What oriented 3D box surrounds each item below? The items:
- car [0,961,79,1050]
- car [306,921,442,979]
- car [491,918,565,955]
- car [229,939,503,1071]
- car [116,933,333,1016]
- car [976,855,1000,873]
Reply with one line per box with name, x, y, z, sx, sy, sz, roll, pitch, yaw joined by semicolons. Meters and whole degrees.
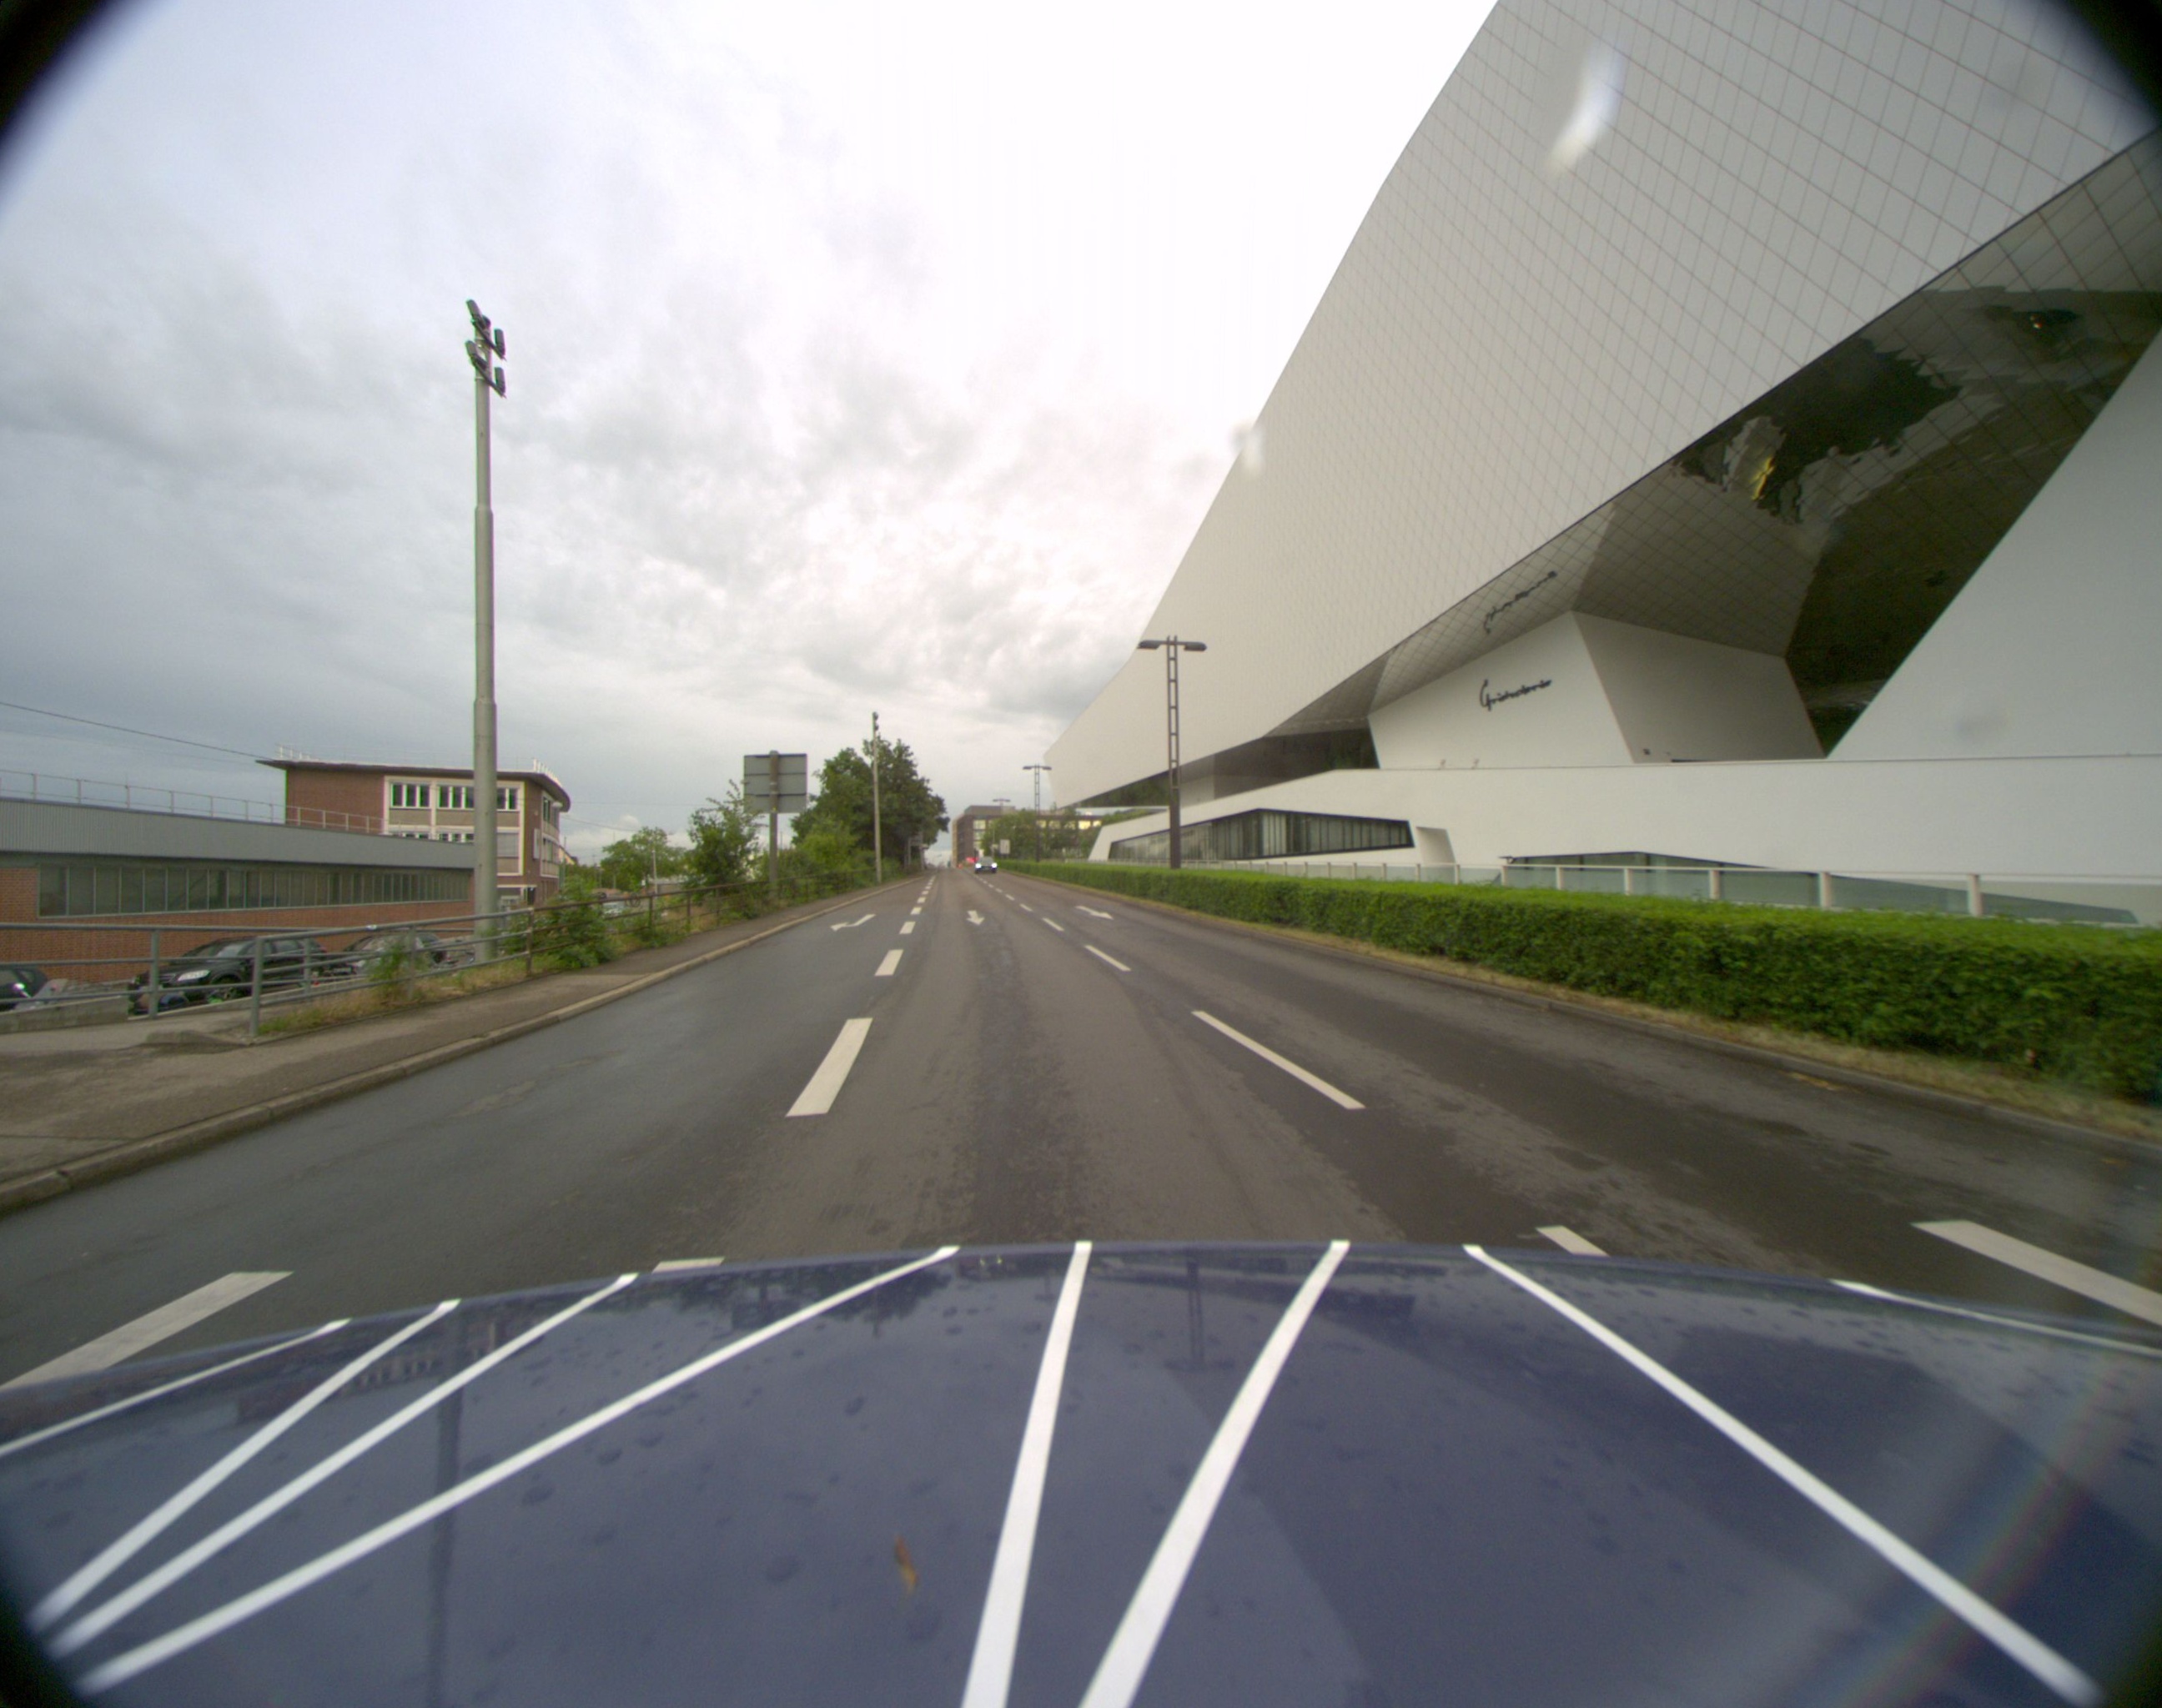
car;-22.757;3.197;14.777;1.704;1.618;3.927;-1;0;-10
car;-25.123;3.358;27.190;1.704;1.546;3.853;-1;0;-10
car;-29.205;4.316;40.258;1.704;1.546;3.853;-1;0;-12
car;-12.442;2.534;13.615;1.704;1.546;3.853;-1;0;-10
car;-23.928;3.294;21.517;1.638;1.621;4.426;-1;0;-10
car;-8.633;0.872;70.465;1.843;1.574;4.284;-1;0;-12
